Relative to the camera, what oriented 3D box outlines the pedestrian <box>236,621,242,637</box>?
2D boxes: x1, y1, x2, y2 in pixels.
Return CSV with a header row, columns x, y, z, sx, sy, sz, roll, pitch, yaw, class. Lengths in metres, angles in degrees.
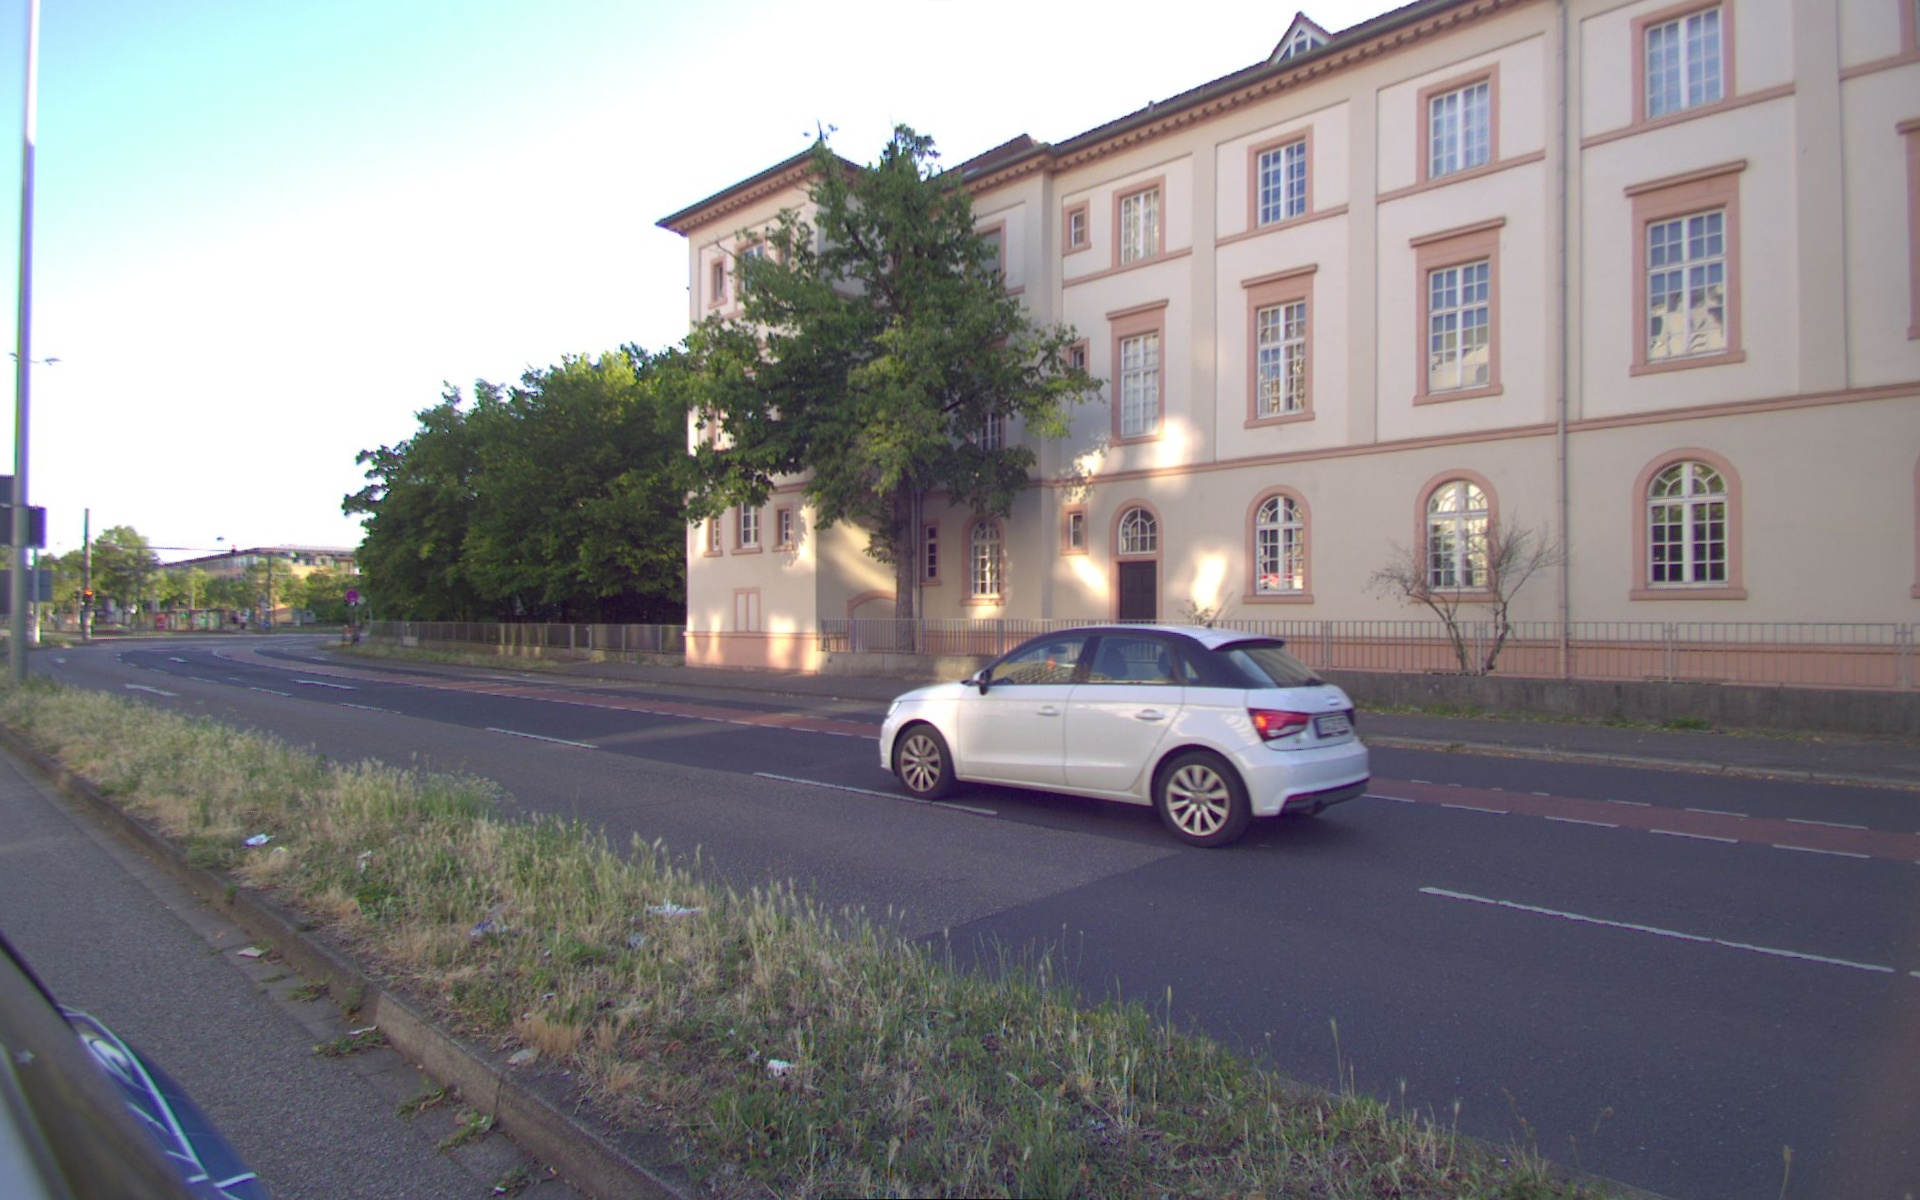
x,y,z,sx,sy,sz,roll,pitch,yaw,class
-78.676,3.124,110.437,0.419,1.718,0.461,-1,-2,41,pedestrian
